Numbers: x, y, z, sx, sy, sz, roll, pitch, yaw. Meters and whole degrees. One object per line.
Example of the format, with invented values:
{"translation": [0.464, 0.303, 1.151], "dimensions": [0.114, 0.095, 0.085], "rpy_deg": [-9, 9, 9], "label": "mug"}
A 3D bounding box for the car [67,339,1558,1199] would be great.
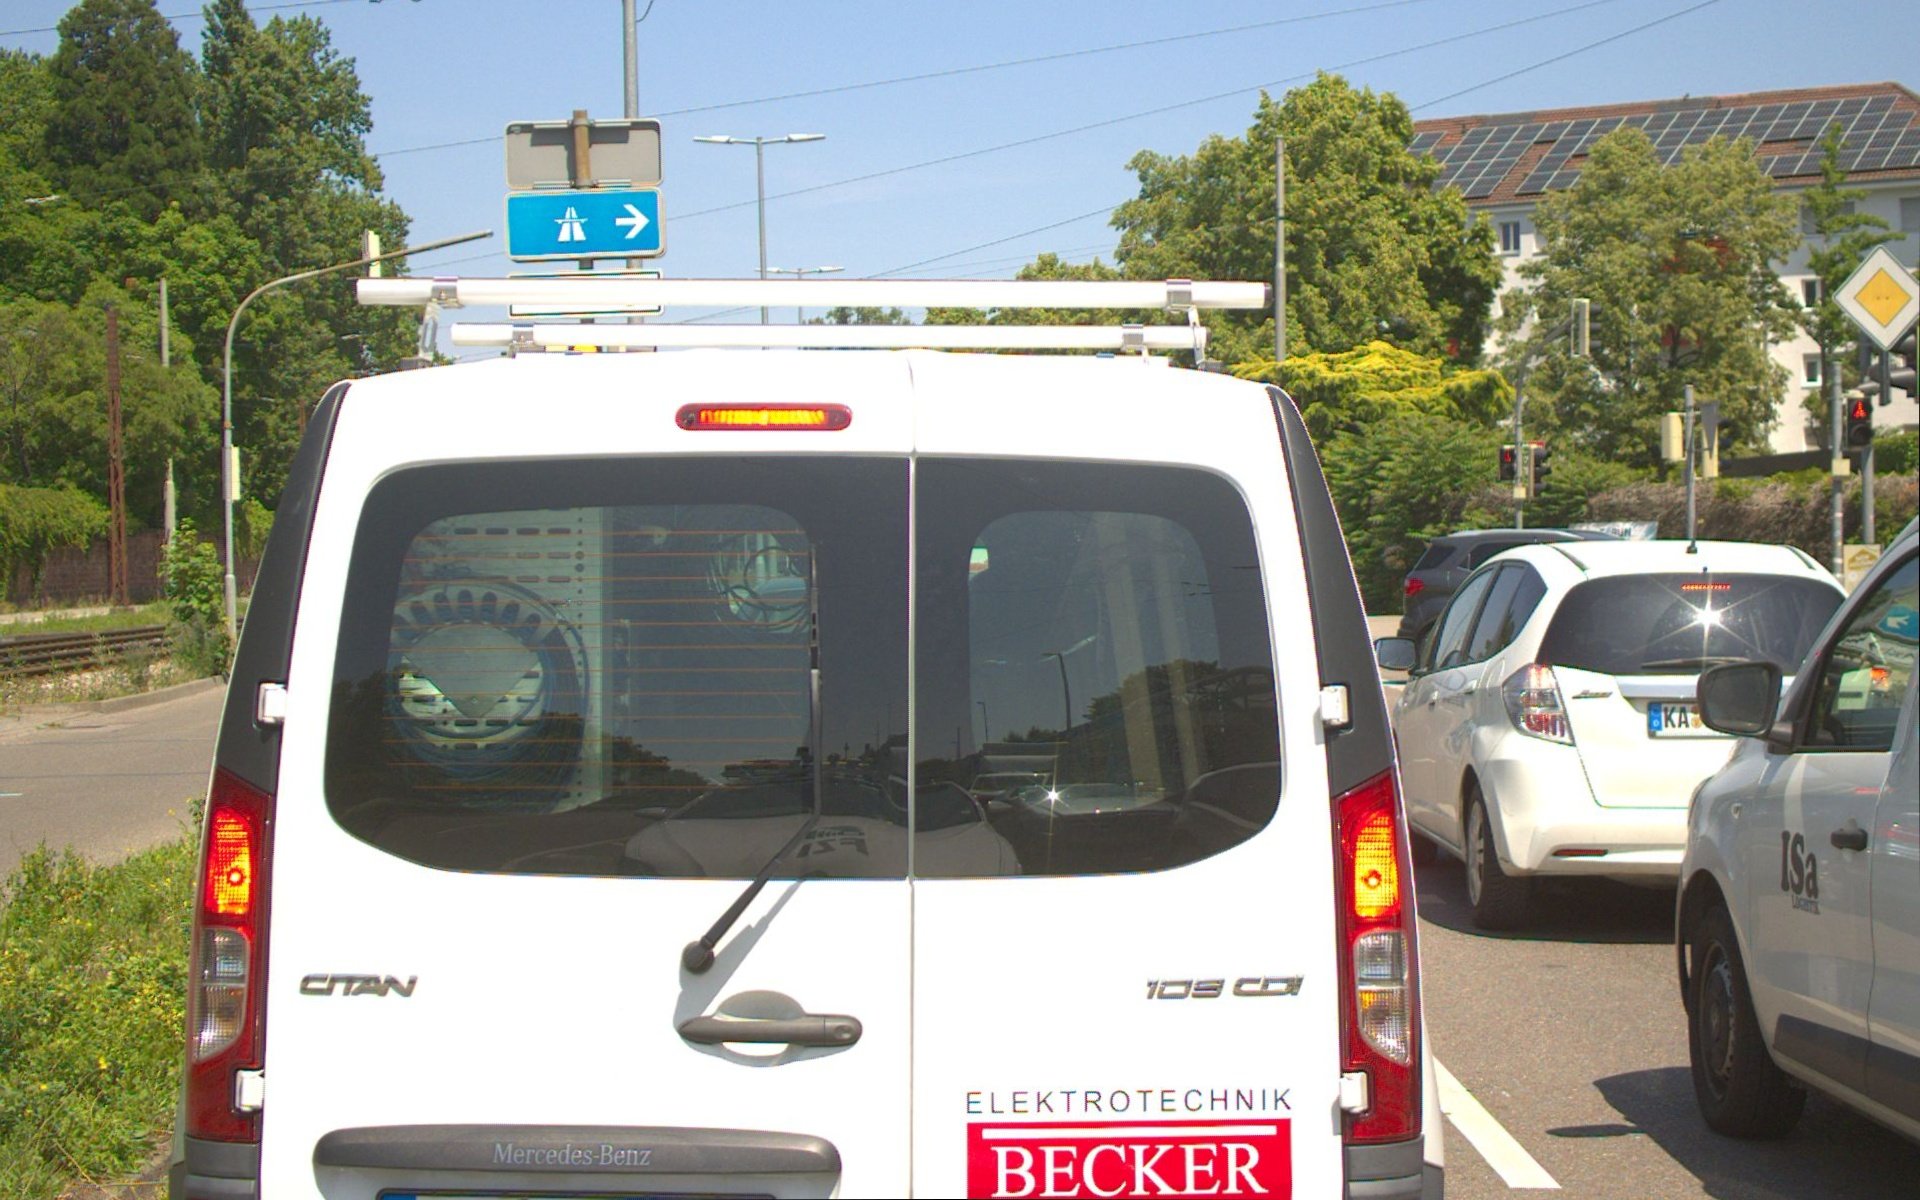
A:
{"translation": [-0.208, 0.528, 6.421], "dimensions": [1.821, 1.734, 4.396], "rpy_deg": [1, 1, -1], "label": "car"}

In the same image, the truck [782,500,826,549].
{"translation": [-8.447, -4.062, 186.671], "dimensions": [2.139, 2.579, 5.890], "rpy_deg": [1, 1, -1], "label": "truck"}

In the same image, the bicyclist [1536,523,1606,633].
{"translation": [9.986, -0.361, 56.211], "dimensions": [0.973, 1.782, 0.726], "rpy_deg": [0, 0, -5], "label": "bicyclist"}

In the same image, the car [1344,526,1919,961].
{"translation": [2.813, 0.488, 14.657], "dimensions": [1.835, 1.563, 4.000], "rpy_deg": [1, 1, -1], "label": "car"}

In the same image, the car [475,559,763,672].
{"translation": [-4.813, 0.199, 48.288], "dimensions": [3.996, 1.514, 1.748], "rpy_deg": [0, 0, 41], "label": "car"}

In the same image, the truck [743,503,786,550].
{"translation": [-11.105, -4.191, 195.796], "dimensions": [2.139, 2.579, 5.890], "rpy_deg": [1, 1, -1], "label": "truck"}

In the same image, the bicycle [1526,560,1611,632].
{"translation": [9.948, -0.074, 56.237], "dimensions": [0.892, 1.155, 1.956], "rpy_deg": [0, 1, -5], "label": "bicycle"}

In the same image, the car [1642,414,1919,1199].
{"translation": [2.761, 0.526, 7.213], "dimensions": [1.727, 1.782, 4.065], "rpy_deg": [1, 1, -2], "label": "car"}
